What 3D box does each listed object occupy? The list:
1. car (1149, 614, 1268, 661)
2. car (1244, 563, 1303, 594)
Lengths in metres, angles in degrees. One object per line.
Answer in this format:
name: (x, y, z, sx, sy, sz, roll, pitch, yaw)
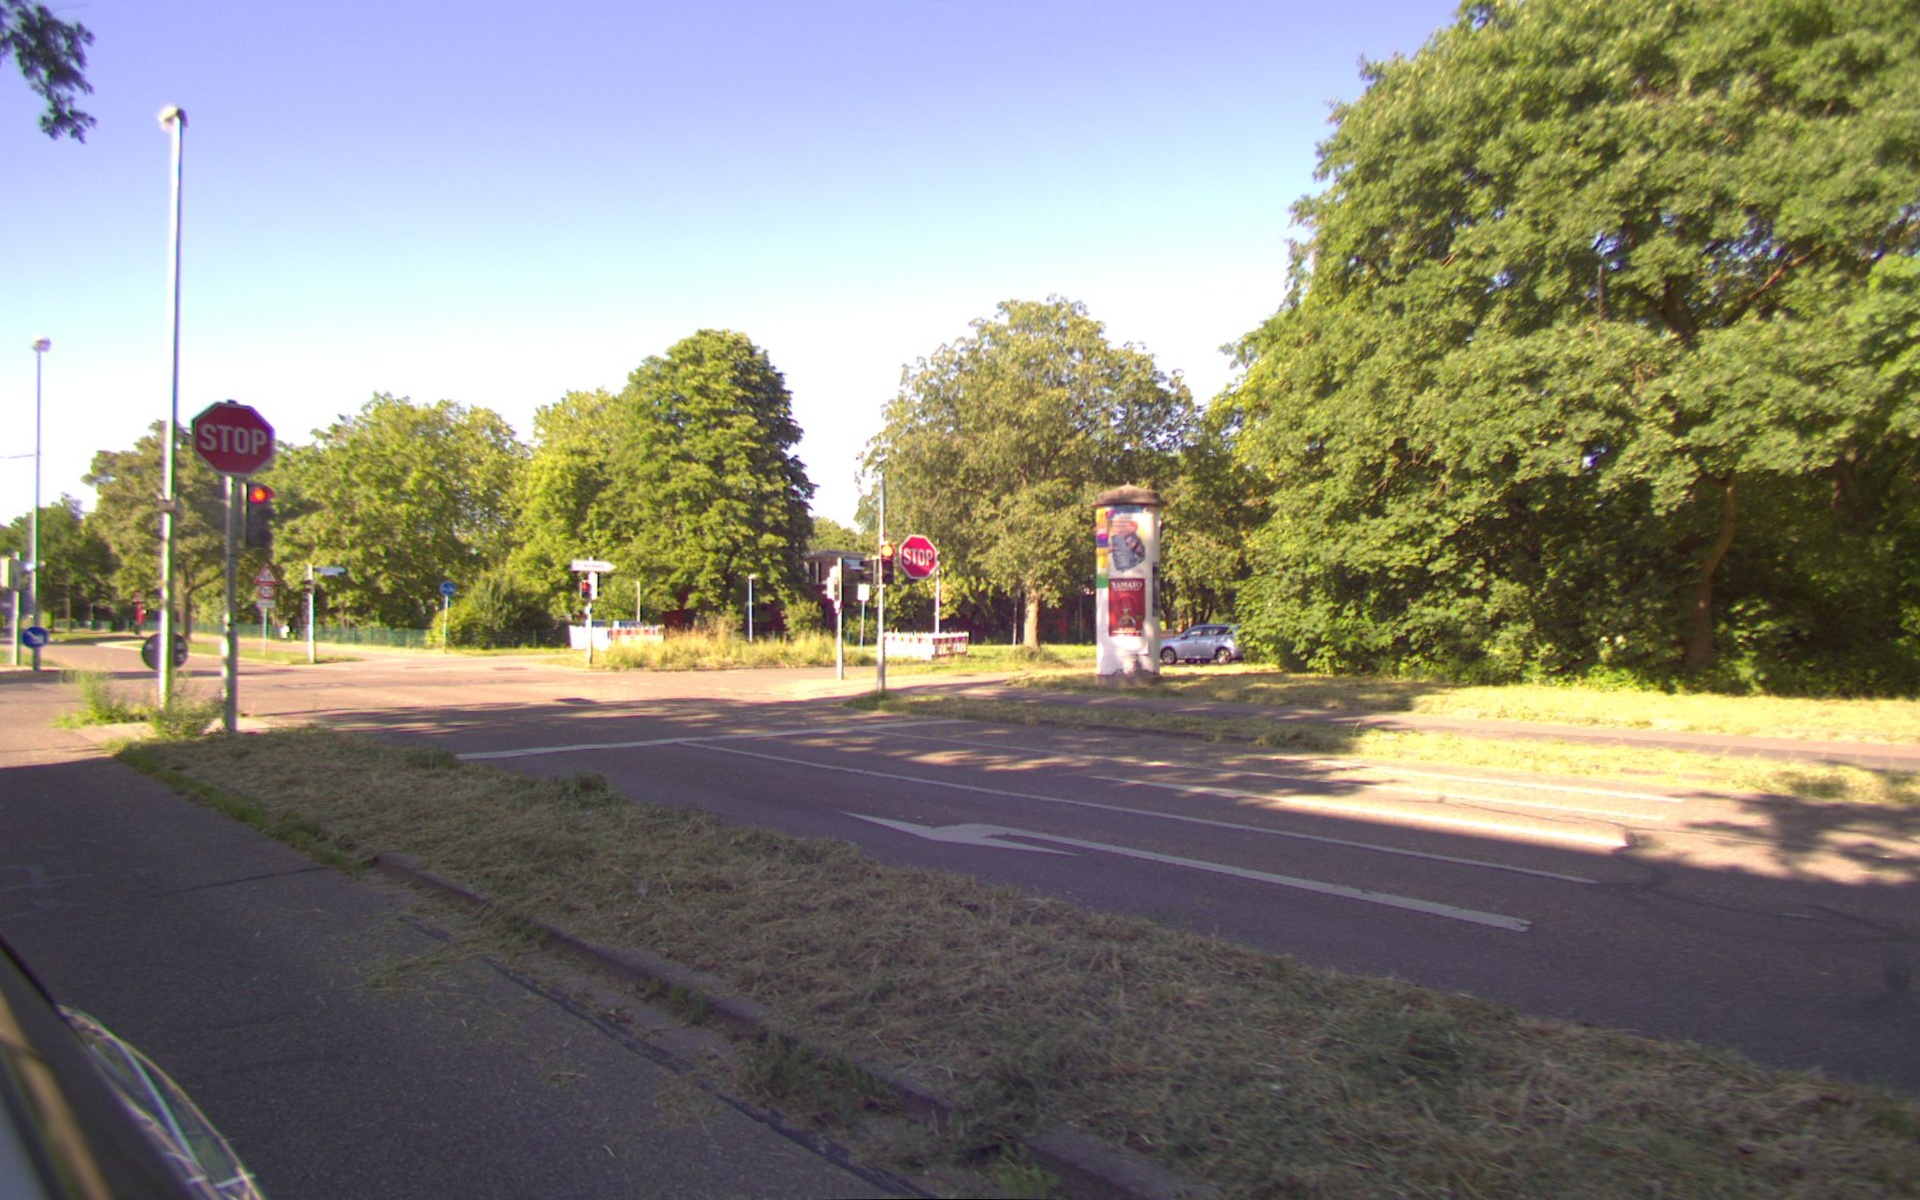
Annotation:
car: (10.048, 1.511, 41.168, 1.826, 1.796, 4.520, 2, -2, -41)
car: (20.296, -1.335, 65.510, 3.941, 1.829, 2.001, 1, -2, -45)
